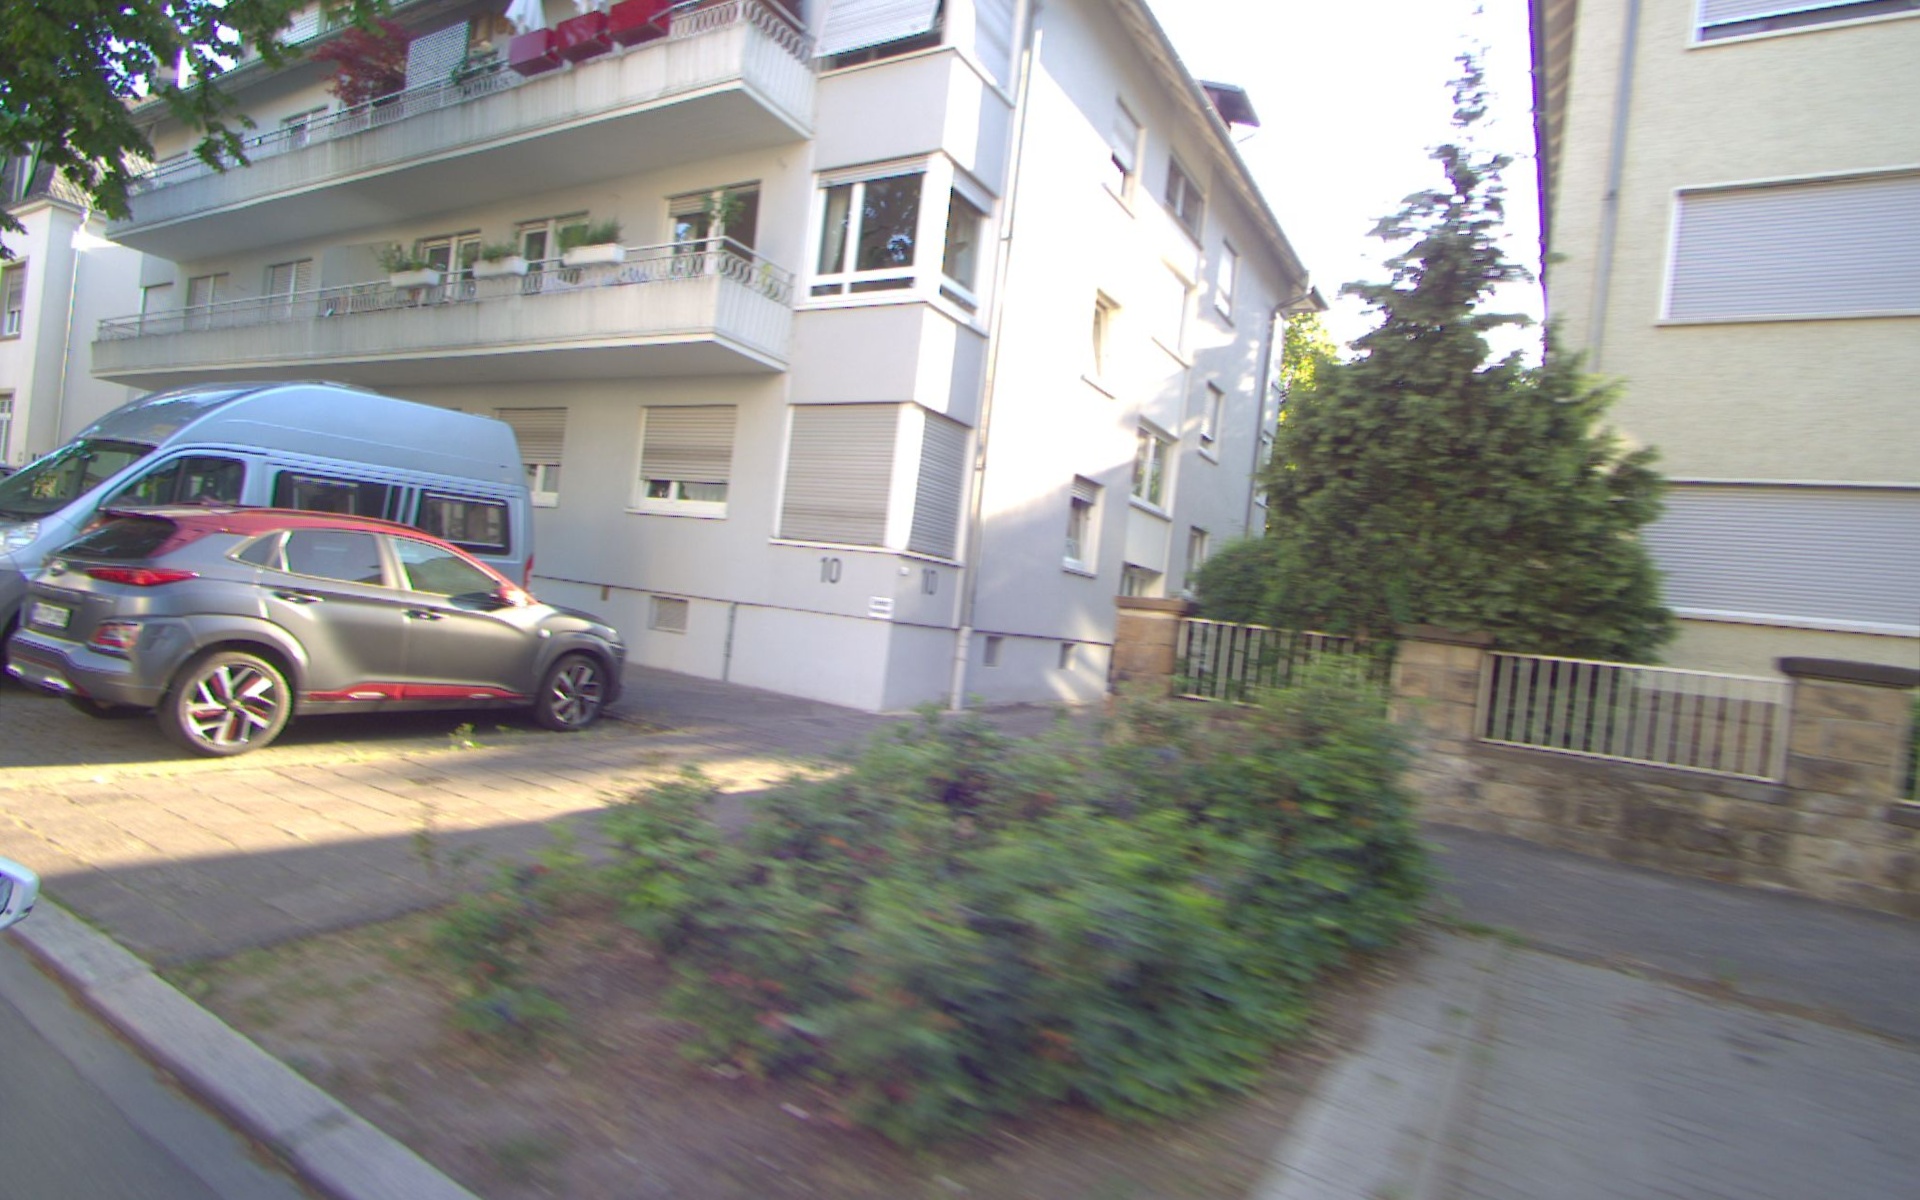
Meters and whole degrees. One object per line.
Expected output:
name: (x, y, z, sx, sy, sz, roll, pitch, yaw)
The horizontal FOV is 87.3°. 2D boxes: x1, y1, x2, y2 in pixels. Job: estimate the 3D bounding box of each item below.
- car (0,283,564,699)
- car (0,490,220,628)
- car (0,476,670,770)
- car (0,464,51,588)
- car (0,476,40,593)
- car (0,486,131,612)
car: (-6.667, -0.725, 9.432, 2.041, 2.938, 5.102, 7, 0, 30)
car: (-11.441, -0.550, 12.026, 1.729, 1.448, 3.726, 5, -1, 30)
car: (-4.514, 0.172, 7.856, 1.729, 1.588, 4.193, 7, 1, 30)
car: (-17.748, -1.484, 15.939, 1.864, 2.038, 4.478, 7, -1, 30)
car: (-16.046, -1.184, 14.129, 1.734, 1.744, 4.187, 6, -1, 24)
car: (-13.612, -0.818, 13.273, 1.612, 1.573, 3.726, 6, -1, 30)
